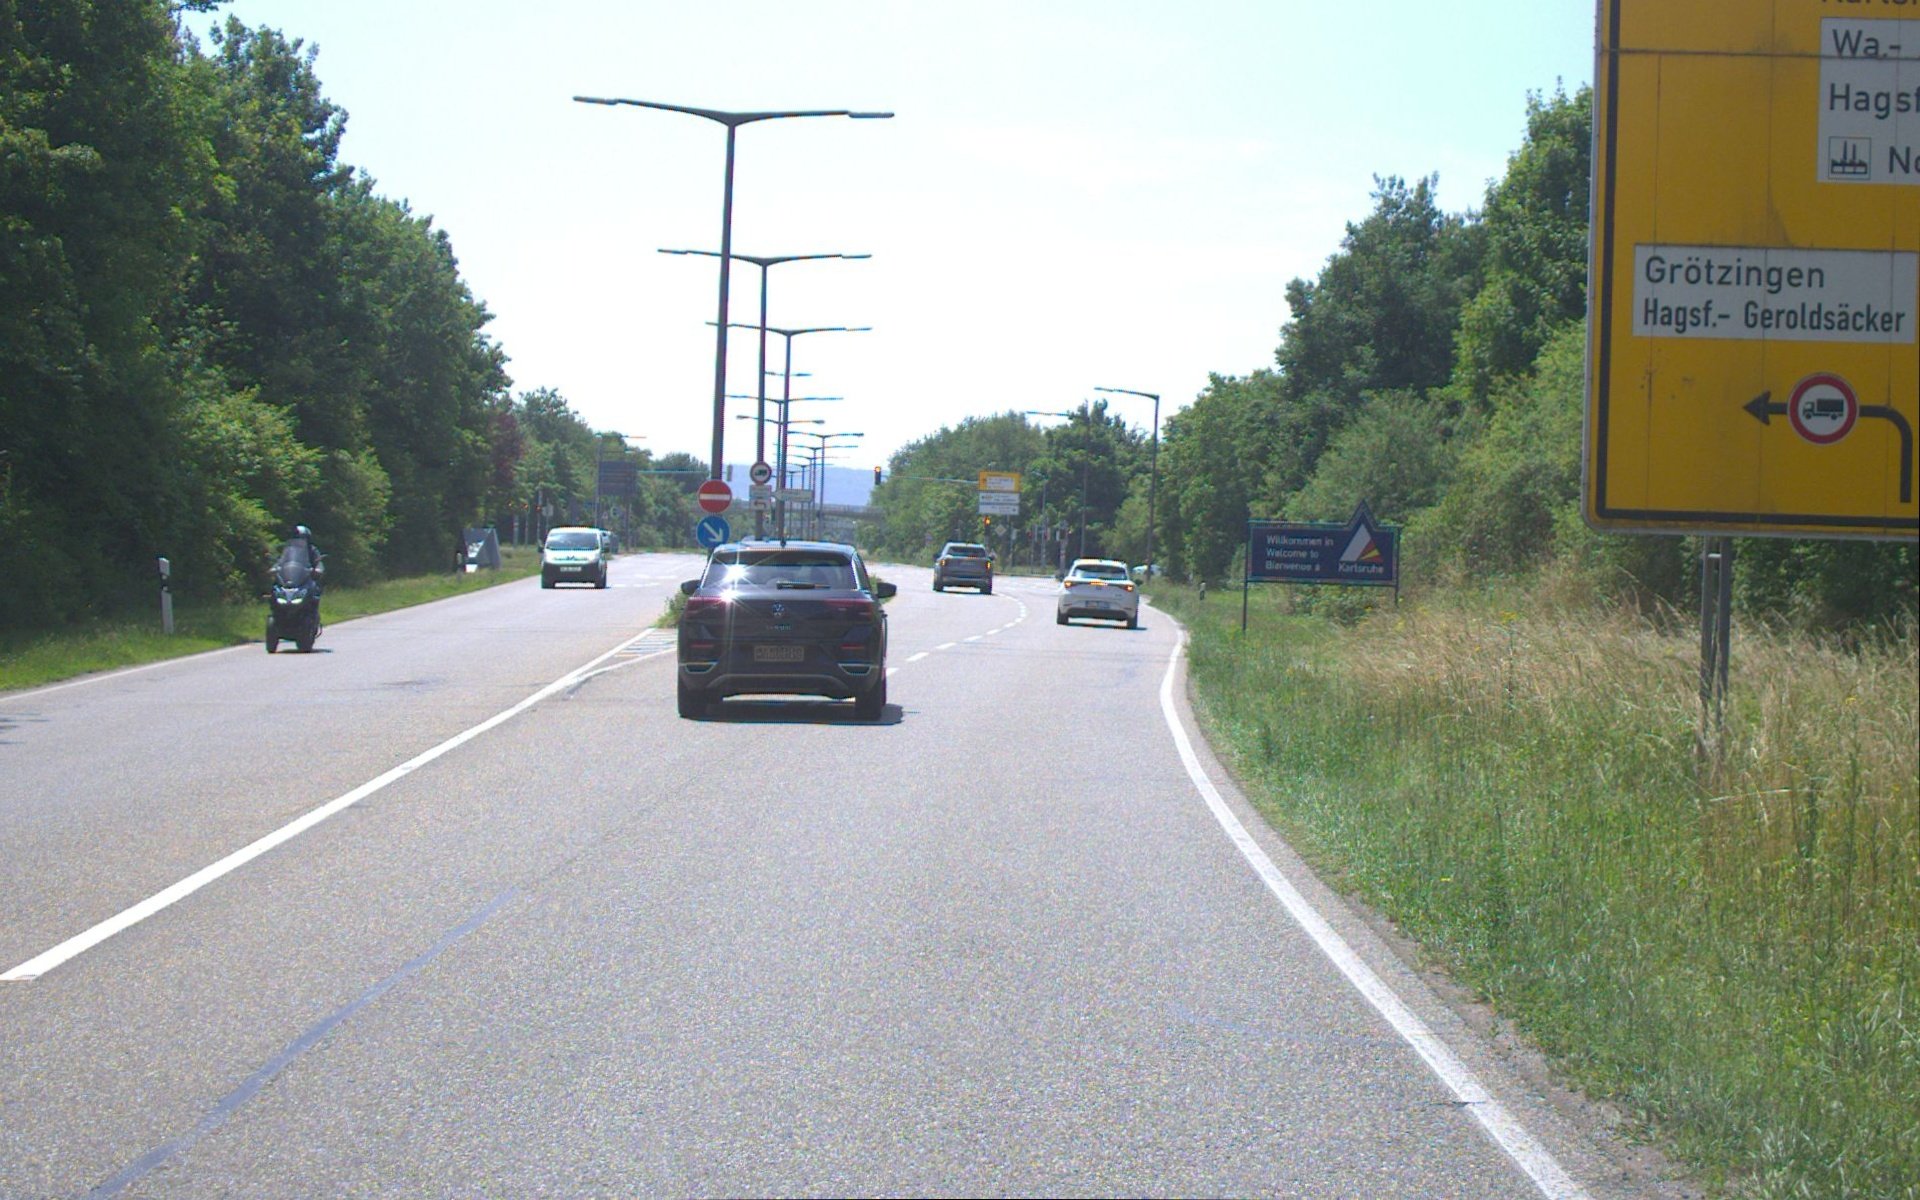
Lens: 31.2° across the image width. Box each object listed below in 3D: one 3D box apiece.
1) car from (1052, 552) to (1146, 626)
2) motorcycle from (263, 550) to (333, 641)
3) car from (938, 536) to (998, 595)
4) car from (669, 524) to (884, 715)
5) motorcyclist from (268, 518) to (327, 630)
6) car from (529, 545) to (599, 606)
[{"bbox_3d":[3.028,-0.263,75.388,1.797,1.577,4.000,0,1,-1],"label":"car"},{"bbox_3d":[-8.841,-0.070,45.952,0.670,1.170,2.232,1,1,-5],"label":"motorcycle"},{"bbox_3d":[0.261,-1.202,118.547,1.755,1.922,4.001,3,1,-3],"label":"car"},{"bbox_3d":[-1.697,0.141,30.830,1.755,1.551,4.001,2,1,-5],"label":"car"},{"bbox_3d":[-8.806,-0.349,45.738,0.670,1.470,0.814,1,1,-6],"label":"motorcyclist"},{"bbox_3d":[-11.234,-0.712,97.777,1.731,1.682,4.096,0,1,-3],"label":"car"}]
